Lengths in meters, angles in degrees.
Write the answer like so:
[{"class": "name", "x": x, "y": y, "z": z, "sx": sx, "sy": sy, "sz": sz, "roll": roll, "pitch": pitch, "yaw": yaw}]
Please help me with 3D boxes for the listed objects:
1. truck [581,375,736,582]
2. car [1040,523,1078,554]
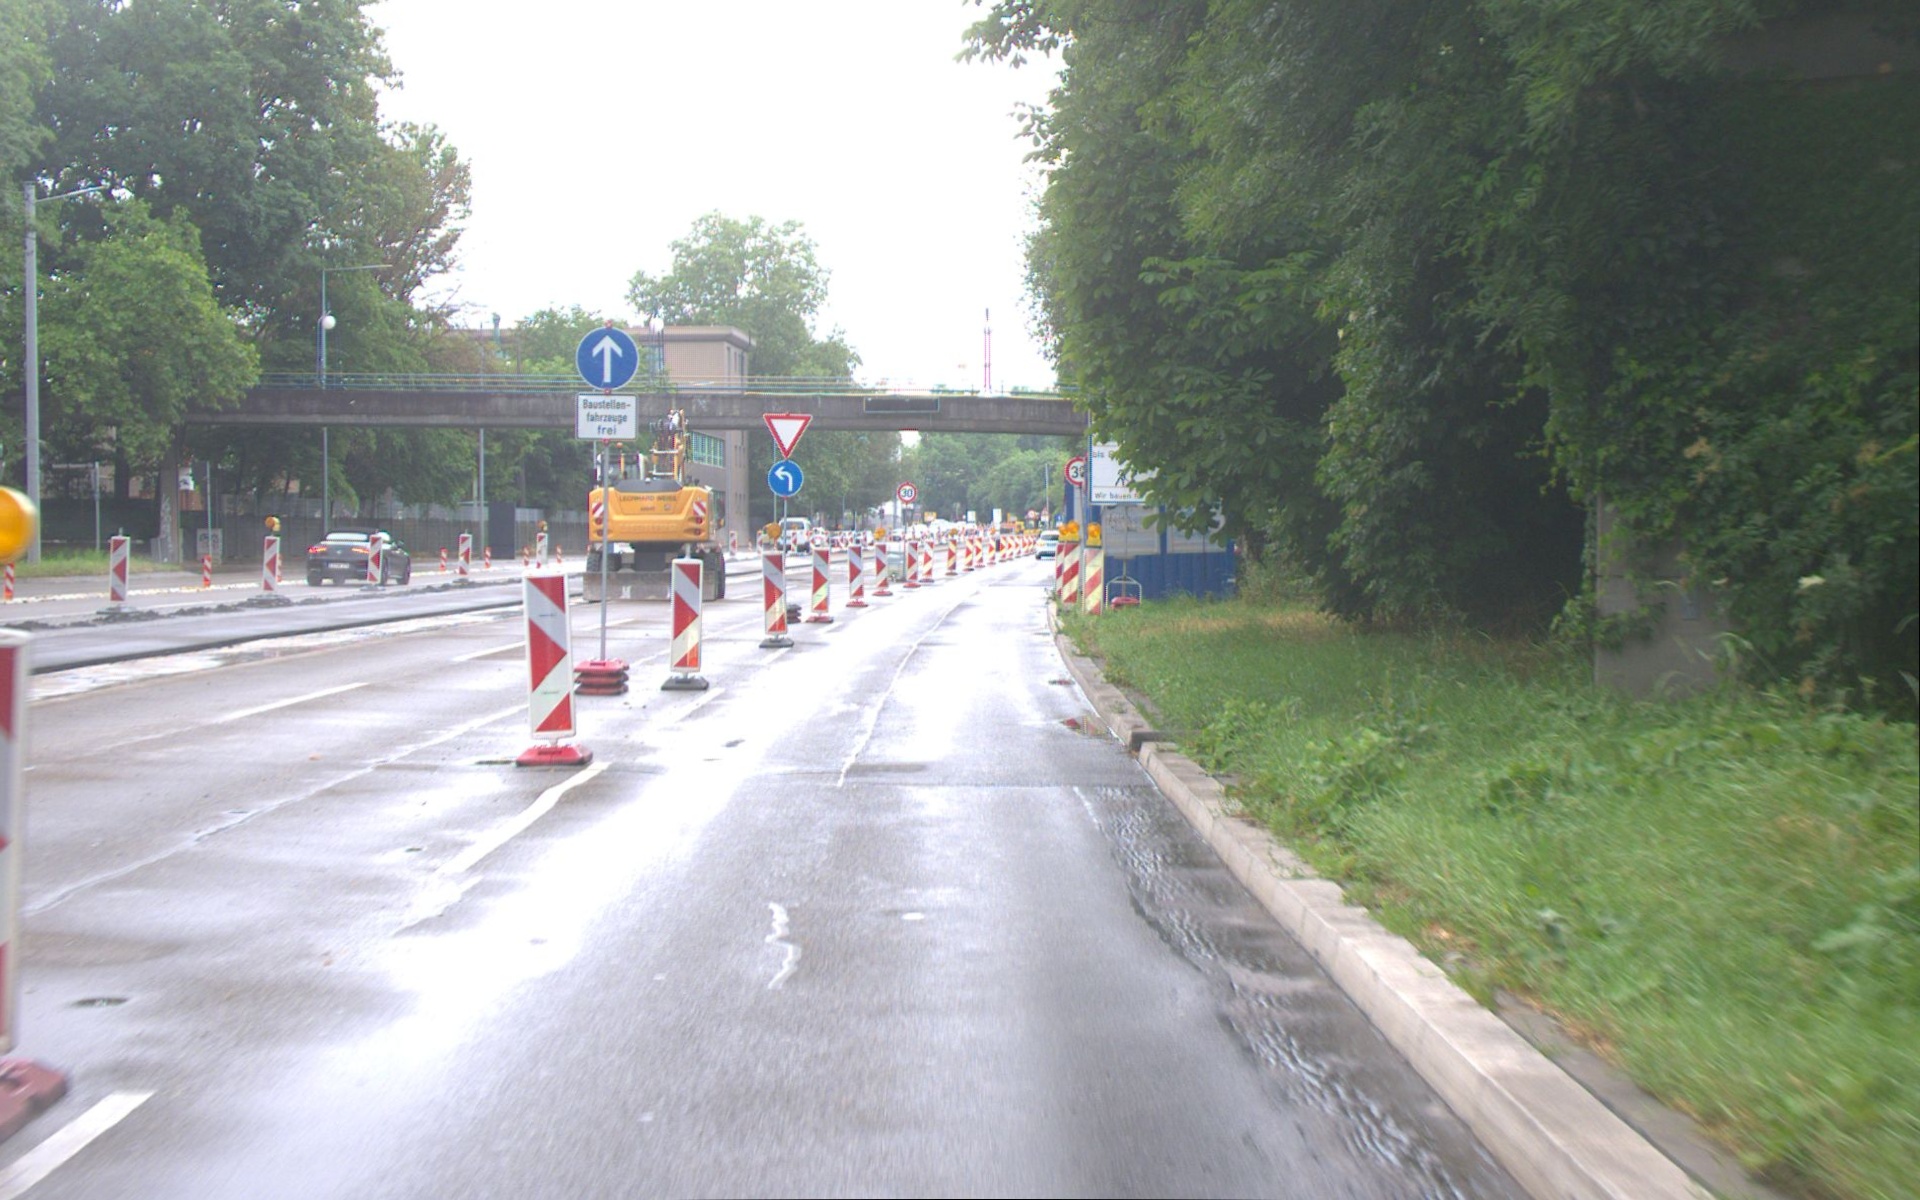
[{"class": "truck", "x": -6.626, "y": -2.673, "z": 76.934, "sx": 2.897, "sy": 4.244, "sz": 10.757, "roll": 1, "pitch": 1, "yaw": -3}, {"class": "car", "x": 5.234, "y": -3.254, "z": 181.444, "sx": 1.994, "sy": 1.634, "sz": 4.000, "roll": 0, "pitch": 1, "yaw": 2}]
